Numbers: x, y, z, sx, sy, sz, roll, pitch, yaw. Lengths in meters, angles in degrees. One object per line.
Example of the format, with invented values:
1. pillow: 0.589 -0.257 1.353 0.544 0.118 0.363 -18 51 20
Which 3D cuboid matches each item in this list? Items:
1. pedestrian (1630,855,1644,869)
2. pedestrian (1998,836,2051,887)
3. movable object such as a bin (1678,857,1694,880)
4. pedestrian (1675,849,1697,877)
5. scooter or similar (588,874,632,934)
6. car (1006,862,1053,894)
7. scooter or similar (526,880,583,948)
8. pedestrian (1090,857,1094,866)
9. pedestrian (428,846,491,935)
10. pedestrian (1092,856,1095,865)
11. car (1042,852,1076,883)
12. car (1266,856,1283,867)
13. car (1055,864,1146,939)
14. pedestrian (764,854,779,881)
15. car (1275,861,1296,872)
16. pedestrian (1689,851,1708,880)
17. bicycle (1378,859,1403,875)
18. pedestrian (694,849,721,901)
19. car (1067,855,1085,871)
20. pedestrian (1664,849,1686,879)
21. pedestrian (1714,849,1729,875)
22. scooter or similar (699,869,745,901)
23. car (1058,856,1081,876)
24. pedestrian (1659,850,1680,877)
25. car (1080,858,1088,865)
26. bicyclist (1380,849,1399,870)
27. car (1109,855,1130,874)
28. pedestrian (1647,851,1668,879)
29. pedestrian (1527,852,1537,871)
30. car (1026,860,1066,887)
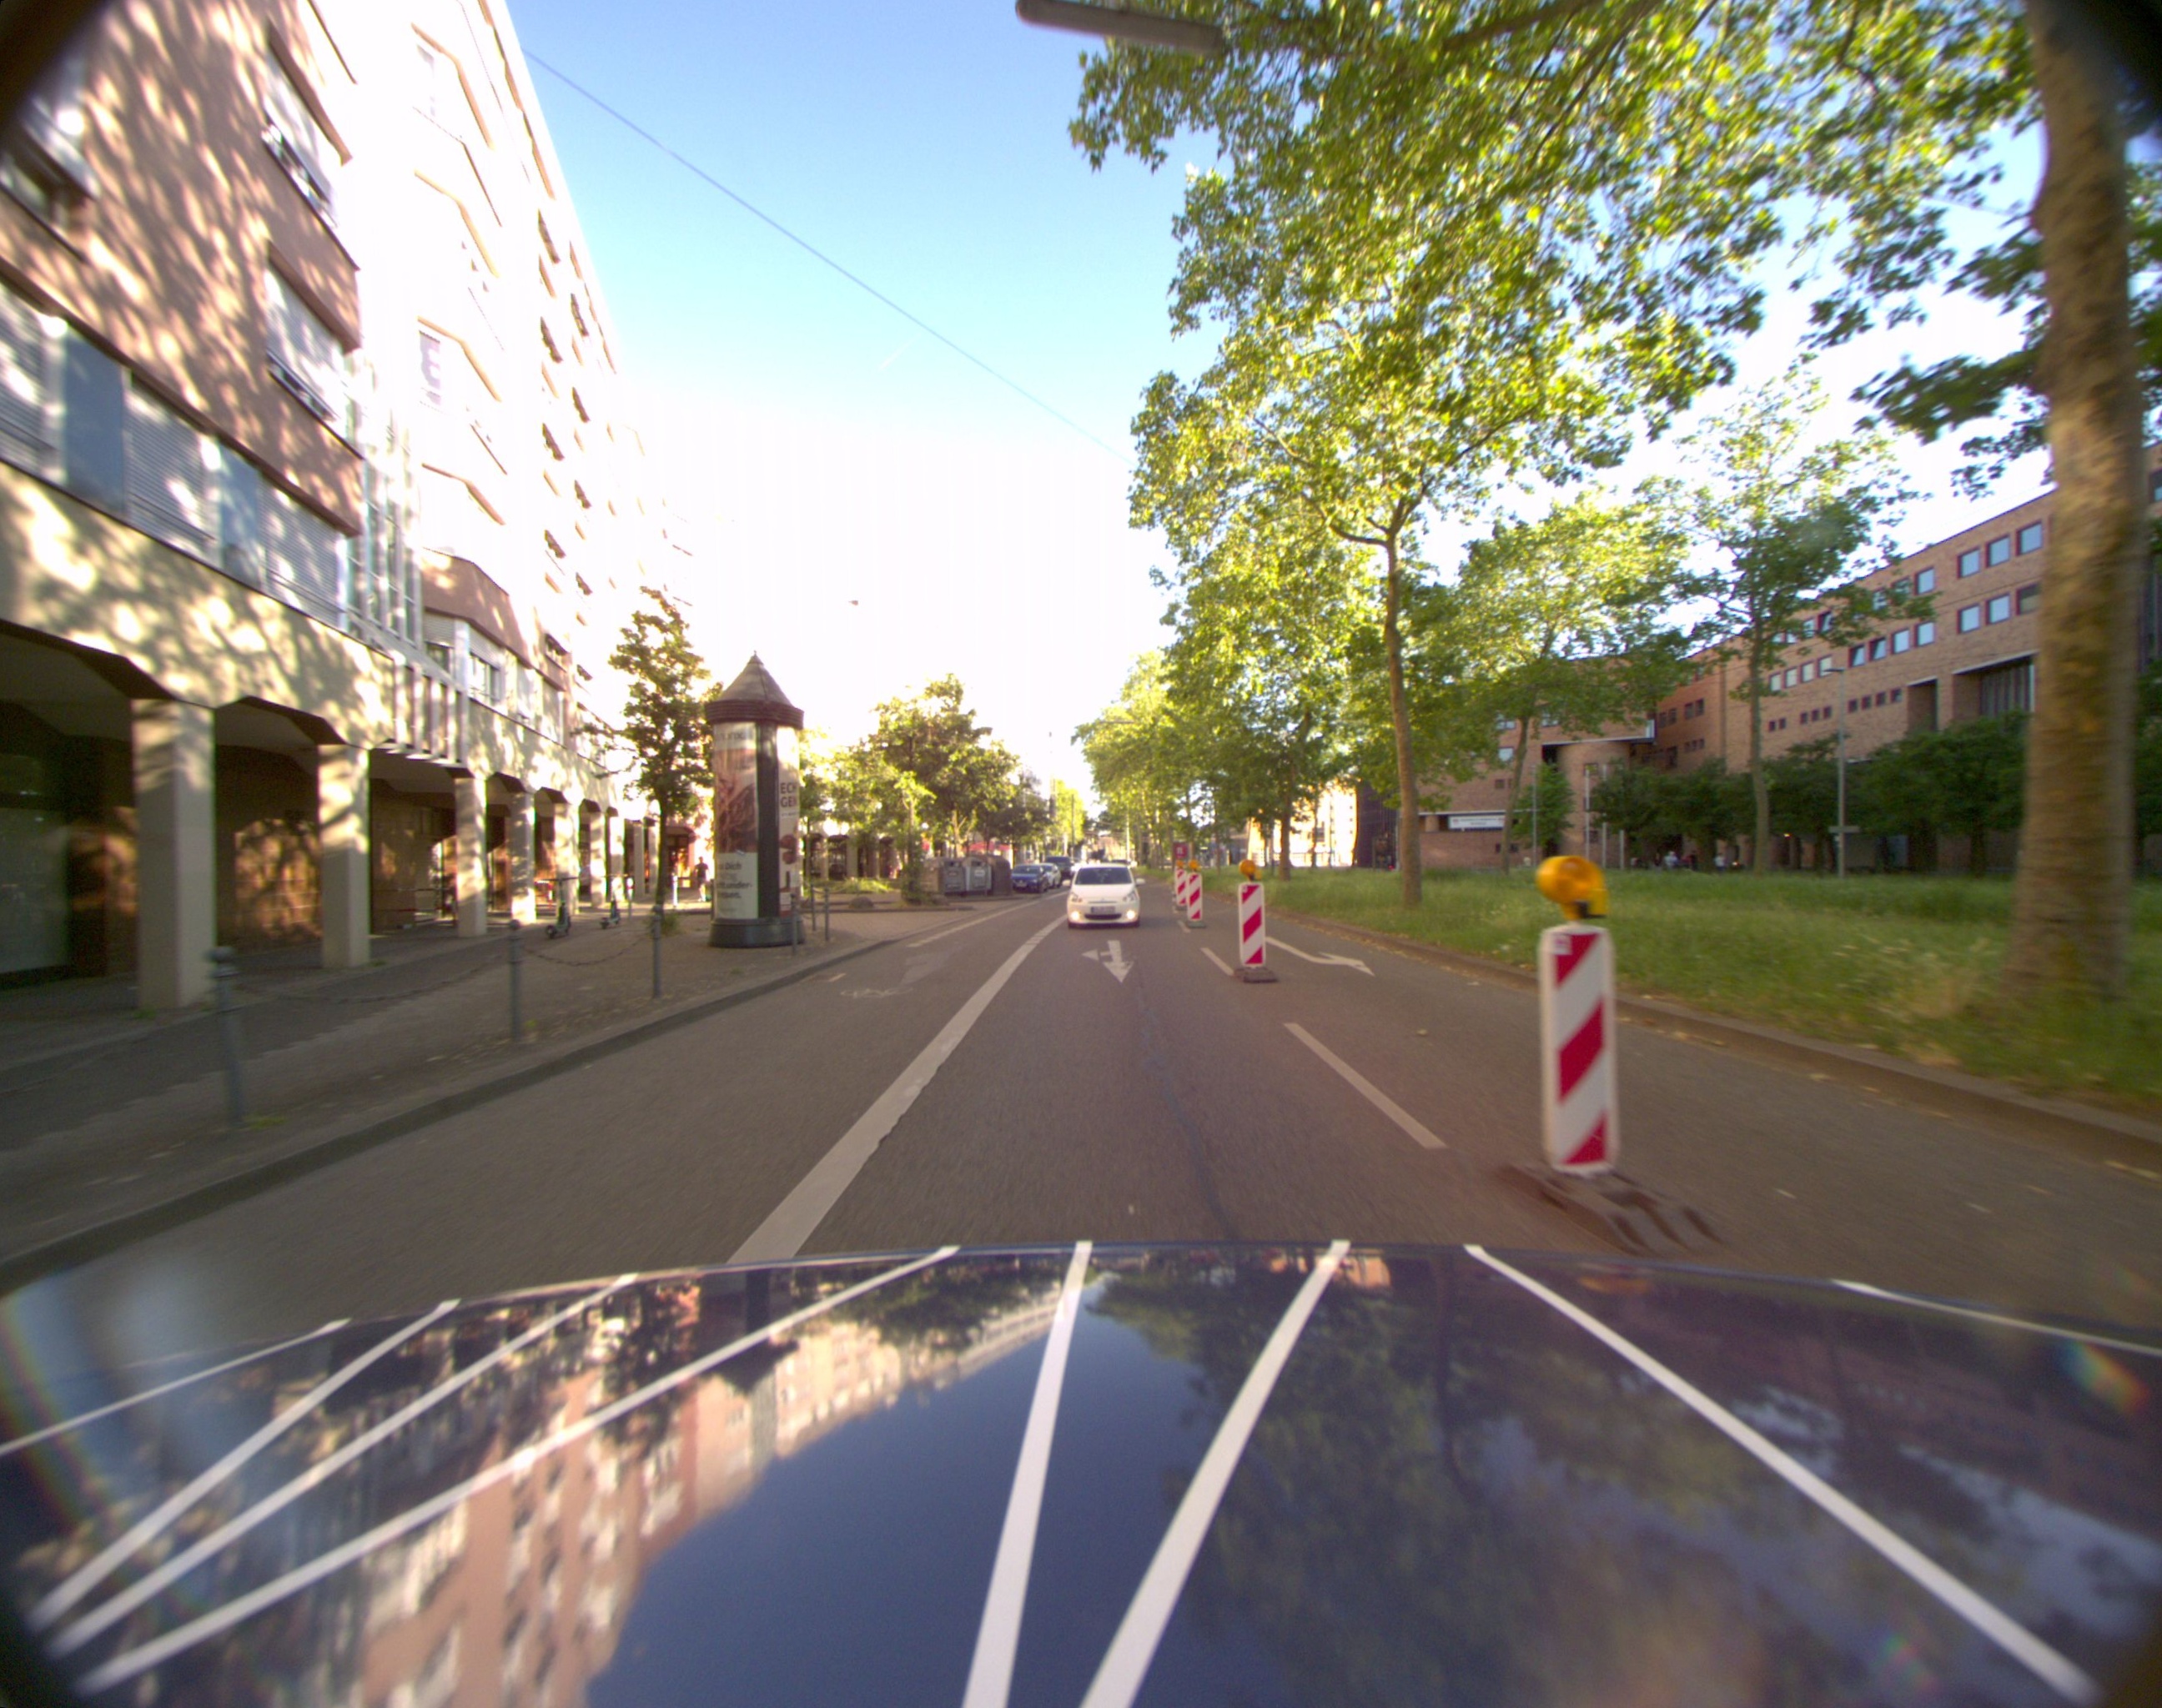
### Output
1. pedestrian: 46.866 0.652 64.034 0.666 1.191 0.630 -1 0 -8
2. pedestrian: 34.487 0.275 27.780 0.826 1.820 0.901 -1 0 3
3. movable object such as a bin: 34.384 0.806 43.181 0.356 1.271 0.756 -1 0 1
4. pedestrian: 35.131 0.536 44.107 0.665 1.607 0.756 -1 0 1
5. scooter or similar: -10.684 1.111 17.266 0.486 1.266 1.448 -1 0 -18
6. car: -2.506 1.147 37.983 1.705 1.475 4.250 0 0 5
7. scooter or similar: -10.273 1.146 14.869 0.486 1.209 1.448 -1 0 -18
8. pedestrian: 2.566 1.661 171.249 0.645 2.002 0.657 0 0 44
9. pedestrian: -14.158 0.812 17.333 0.819 1.970 0.847 -1 0 -18
10. pedestrian: 2.804 1.568 174.875 0.614 2.002 0.530 -1 0 1
11. car: -1.386 0.880 50.437 2.043 1.932 5.198 1 0 0
12. car: 26.698 1.056 104.921 1.617 1.420 3.222 -1 0 1
13. car: 0.593 1.004 17.903 1.720 1.442 4.427 -3 -1 6
14. pedestrian: -21.461 0.924 52.695 0.622 1.859 0.709 -1 1 4
15. car: 26.470 1.614 98.646 1.675 1.420 4.150 -1 0 1
16. pedestrian: 35.717 0.648 43.943 0.612 1.670 0.596 -1 0 1
17. bicycle: 23.651 0.989 58.074 0.958 1.119 2.436 -1 1 2
18. pedestrian: -14.552 0.815 29.607 0.641 1.970 0.776 -1 0 -2
19. car: -0.617 1.039 92.481 1.922 1.893 4.862 1 0 2
20. pedestrian: 34.376 0.556 43.965 0.665 1.712 0.797 -1 0 1
21. pedestrian: 36.517 0.454 43.306 0.484 1.496 0.463 -1 0 -1
22. scooter or similar: -13.355 1.140 28.273 1.457 1.139 0.559 -1 1 8
23. car: -1.012 1.068 68.401 1.802 1.714 4.461 1 0 3
24. pedestrian: 35.331 0.573 45.651 0.665 1.607 0.756 -1 0 1
25. car: 0.722 1.715 176.760 1.865 1.724 4.019 -1 0 1
26. bicyclist: 23.640 0.415 58.202 0.943 1.561 1.209 -1 0 2
27. car: 3.360 0.928 67.118 1.824 1.630 4.000 -1 0 2
28. pedestrian: 34.606 0.653 45.619 0.665 1.607 0.756 -1 0 1
29. pedestrian: 35.472 0.588 59.779 0.417 1.534 0.653 -1 0 4
30. car: -2.002 1.113 44.232 1.705 1.457 4.177 0 0 6
